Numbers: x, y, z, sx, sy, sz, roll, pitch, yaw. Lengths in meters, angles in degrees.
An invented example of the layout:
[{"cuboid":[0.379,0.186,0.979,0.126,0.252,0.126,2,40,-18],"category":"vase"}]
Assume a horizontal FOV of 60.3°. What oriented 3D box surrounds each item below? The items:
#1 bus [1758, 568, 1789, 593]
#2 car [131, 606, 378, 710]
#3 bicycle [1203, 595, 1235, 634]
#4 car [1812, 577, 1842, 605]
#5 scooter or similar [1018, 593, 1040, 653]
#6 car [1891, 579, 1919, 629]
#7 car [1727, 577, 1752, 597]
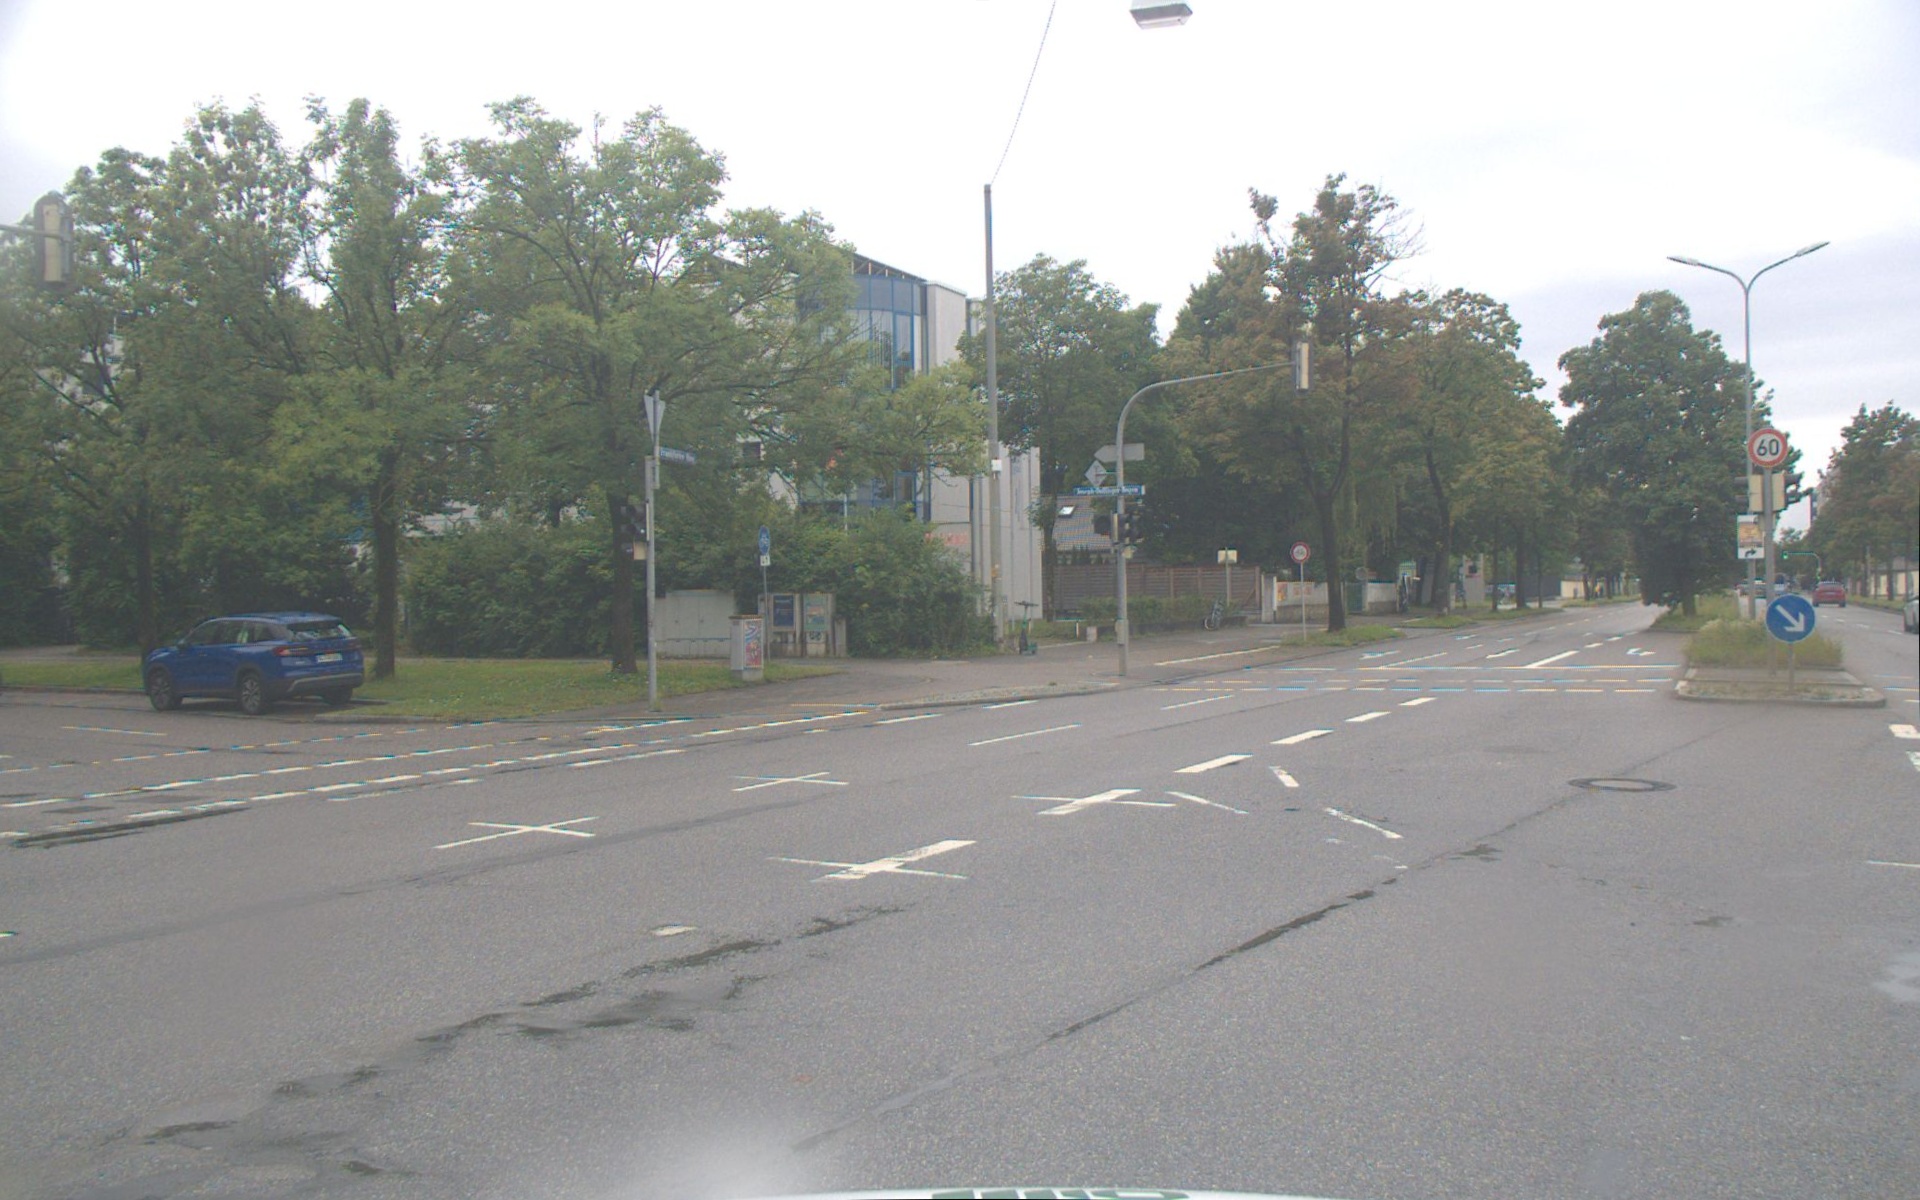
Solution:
[{"cuboid":[107.585,-2.610,218.813,3.156,3.181,10.341,0,1,24],"category":"bus"},{"cuboid":[-12.370,1.005,28.953,4.194,1.602,1.994,-2,2,34],"category":"car"},{"cuboid":[9.240,0.504,58.871,0.570,1.318,2.454,0,1,23],"category":"bicycle"},{"cuboid":[56.072,-0.597,106.952,1.454,1.745,3.549,0,1,24],"category":"car"},{"cuboid":[1.715,0.556,41.053,0.362,1.449,1.407,0,0,10],"category":"scooter or similar"},{"cuboid":[29.805,0.101,50.500,1.840,1.493,4.501,0,1,22],"category":"car"},{"cuboid":[76.448,-1.262,162.246,2.042,1.898,4.384,0,1,24],"category":"car"}]
